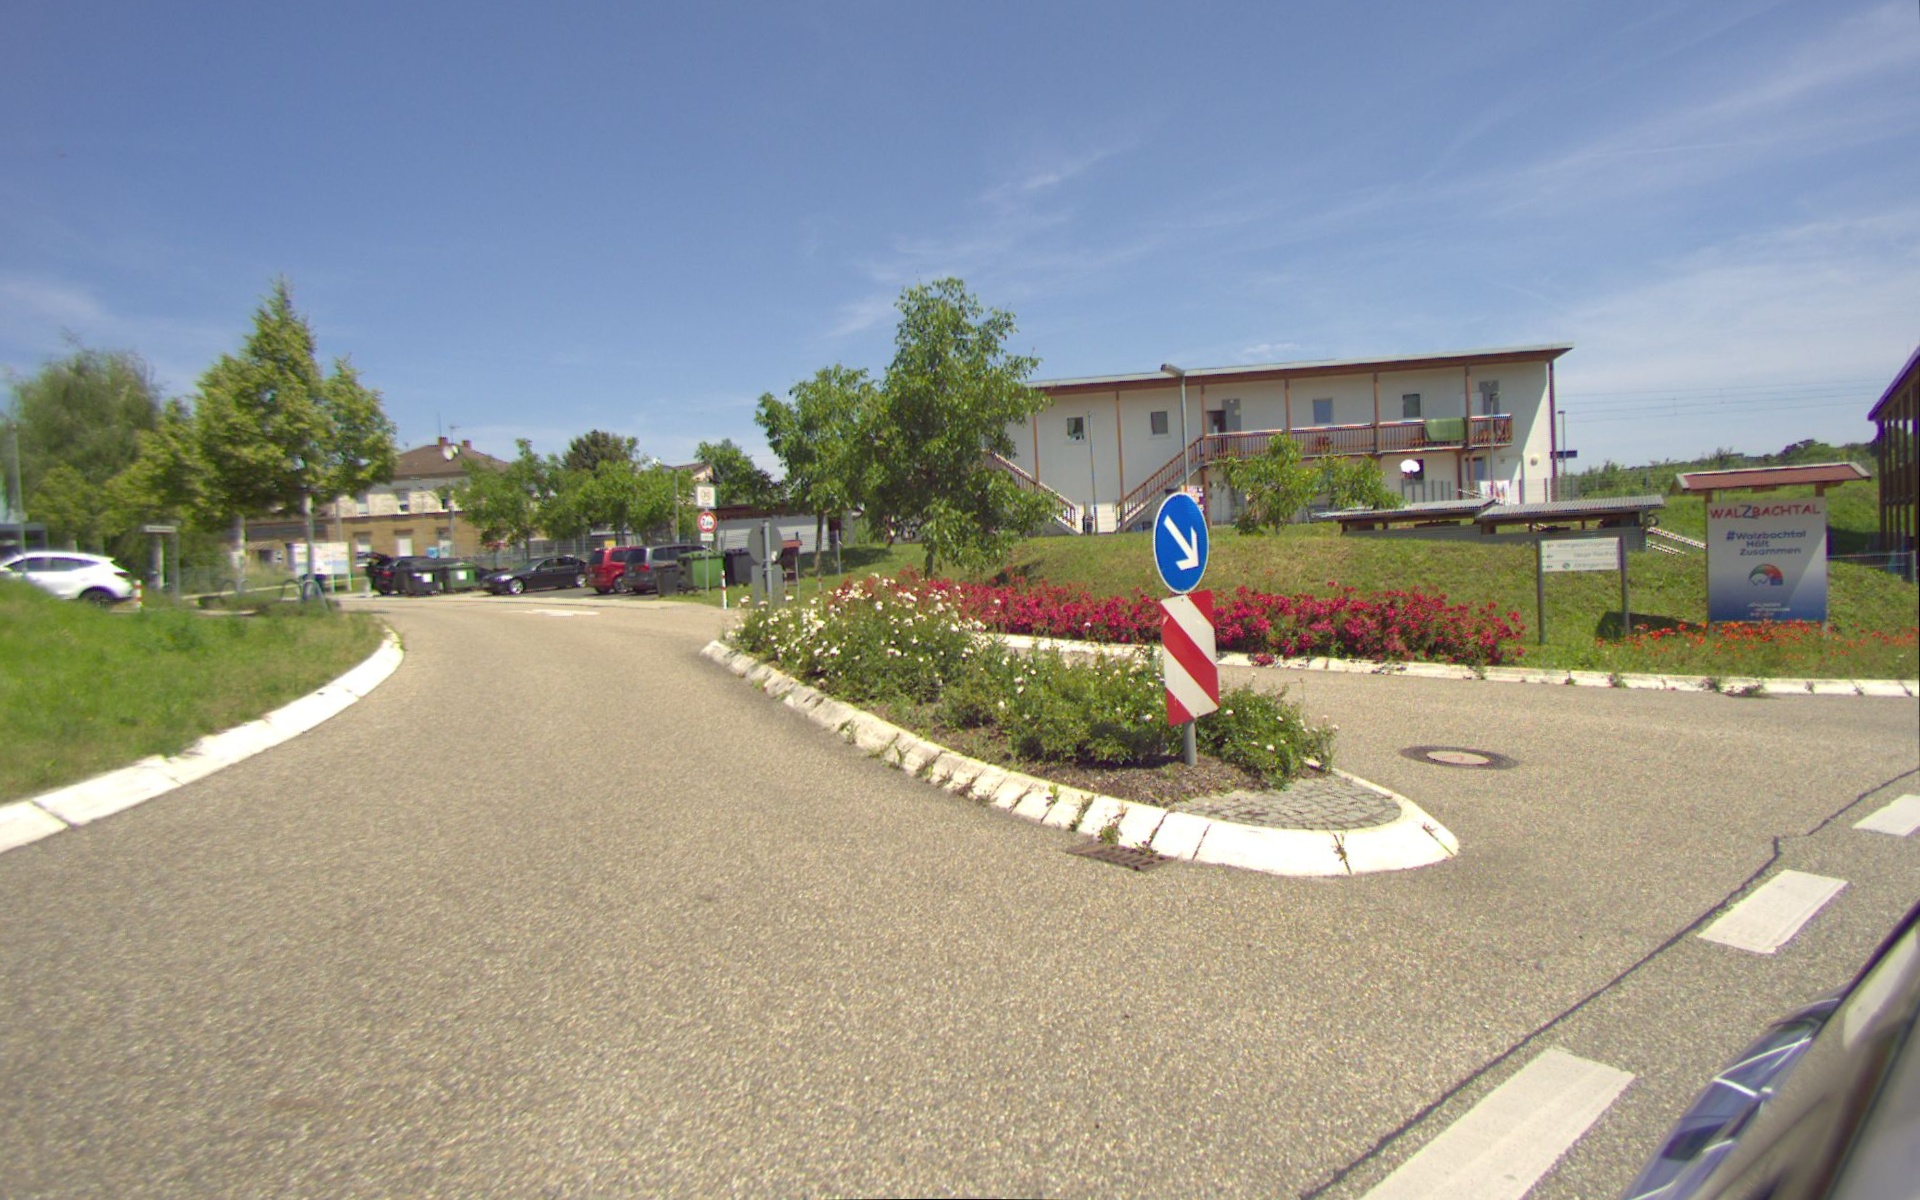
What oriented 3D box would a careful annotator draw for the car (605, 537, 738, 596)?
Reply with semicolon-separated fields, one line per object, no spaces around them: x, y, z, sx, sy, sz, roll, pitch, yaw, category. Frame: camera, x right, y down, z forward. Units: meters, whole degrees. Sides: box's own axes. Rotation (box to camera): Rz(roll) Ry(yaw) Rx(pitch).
-9.897;-1.184;34.879;1.865;1.772;3.939;0;4;44;car

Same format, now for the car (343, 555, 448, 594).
-27.167;-1.245;48.764;1.860;1.598;3.949;-1;4;37;car

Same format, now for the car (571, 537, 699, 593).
-11.710;-1.300;36.668;1.865;1.772;3.939;0;4;44;car

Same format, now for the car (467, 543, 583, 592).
-17.956;-1.356;41.855;1.865;1.772;3.939;0;4;44;car

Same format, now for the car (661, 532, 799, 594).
-7.434;-1.238;32.890;1.865;1.772;3.939;0;4;44;car

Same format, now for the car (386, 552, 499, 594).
-22.810;-1.197;44.709;1.860;1.598;3.949;-1;4;37;car

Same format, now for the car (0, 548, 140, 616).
-25.053;-0.462;27.173;1.993;1.676;4.531;-5;-3;44;car
